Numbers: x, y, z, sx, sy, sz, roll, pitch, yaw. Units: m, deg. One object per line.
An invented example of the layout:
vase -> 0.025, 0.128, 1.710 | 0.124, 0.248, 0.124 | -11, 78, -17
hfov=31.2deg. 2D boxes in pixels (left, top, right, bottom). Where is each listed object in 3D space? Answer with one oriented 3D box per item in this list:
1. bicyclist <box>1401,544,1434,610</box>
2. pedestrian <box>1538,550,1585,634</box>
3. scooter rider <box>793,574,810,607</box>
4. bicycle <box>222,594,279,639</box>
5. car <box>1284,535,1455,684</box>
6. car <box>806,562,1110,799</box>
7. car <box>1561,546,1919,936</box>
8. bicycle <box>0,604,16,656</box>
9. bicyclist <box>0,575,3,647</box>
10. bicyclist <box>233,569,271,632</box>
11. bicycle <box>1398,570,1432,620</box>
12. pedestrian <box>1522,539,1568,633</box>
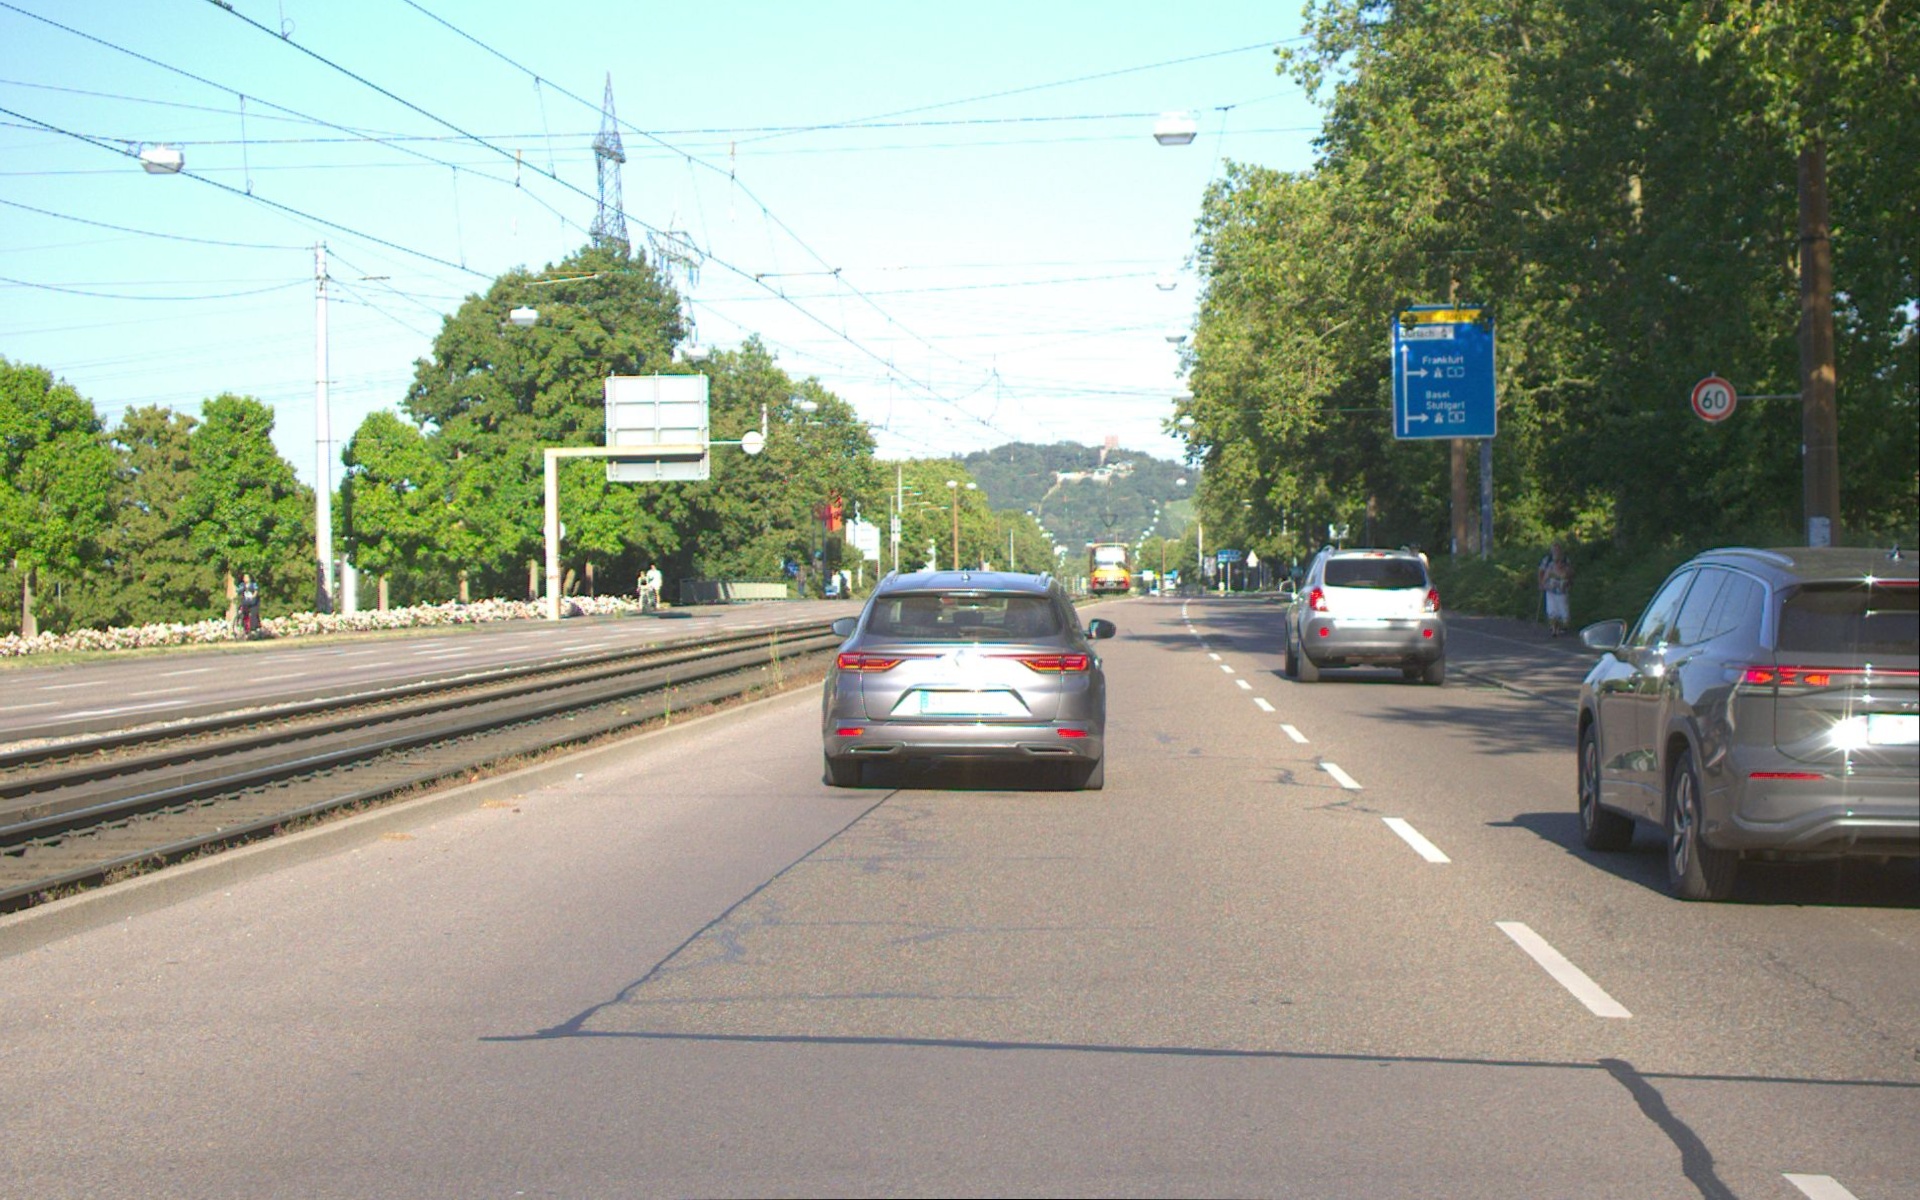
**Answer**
bicyclist -> 10.415, -0.525, 78.317 | 0.685, 1.503, 0.890 | 0, 1, 4
pedestrian -> 10.840, -0.144, 61.974 | 0.723, 1.475, 0.722 | -1, 0, 3
scooter rider -> -8.784, -0.537, 190.804 | 0.682, 1.842, 1.000 | -1, 0, 11
bicycle -> -18.679, 0.434, 90.545 | 0.661, 1.147, 2.021 | 2, 1, 13
car -> 5.255, 0.093, 44.578 | 1.883, 1.789, 4.000 | 2, 1, 3
car -> 0.088, 0.481, 24.002 | 1.866, 1.462, 4.665 | 1, 1, 3
car -> 4.208, 0.573, 16.876 | 1.844, 1.655, 4.439 | 1, 1, 2
bicycle -> -20.484, 0.633, 71.672 | 0.705, 1.069, 2.026 | 2, 1, 11
bicyclist -> -20.492, 0.228, 71.565 | 0.705, 1.507, 0.970 | 2, 1, 11
bicyclist -> -18.655, 0.004, 90.589 | 0.661, 1.618, 0.800 | 2, 1, 13
bicycle -> 10.370, -0.121, 78.433 | 0.622, 1.116, 1.813 | -1, 0, 3
pedestrian -> 10.775, -0.261, 63.343 | 0.722, 1.702, 0.813 | -1, 0, 3
